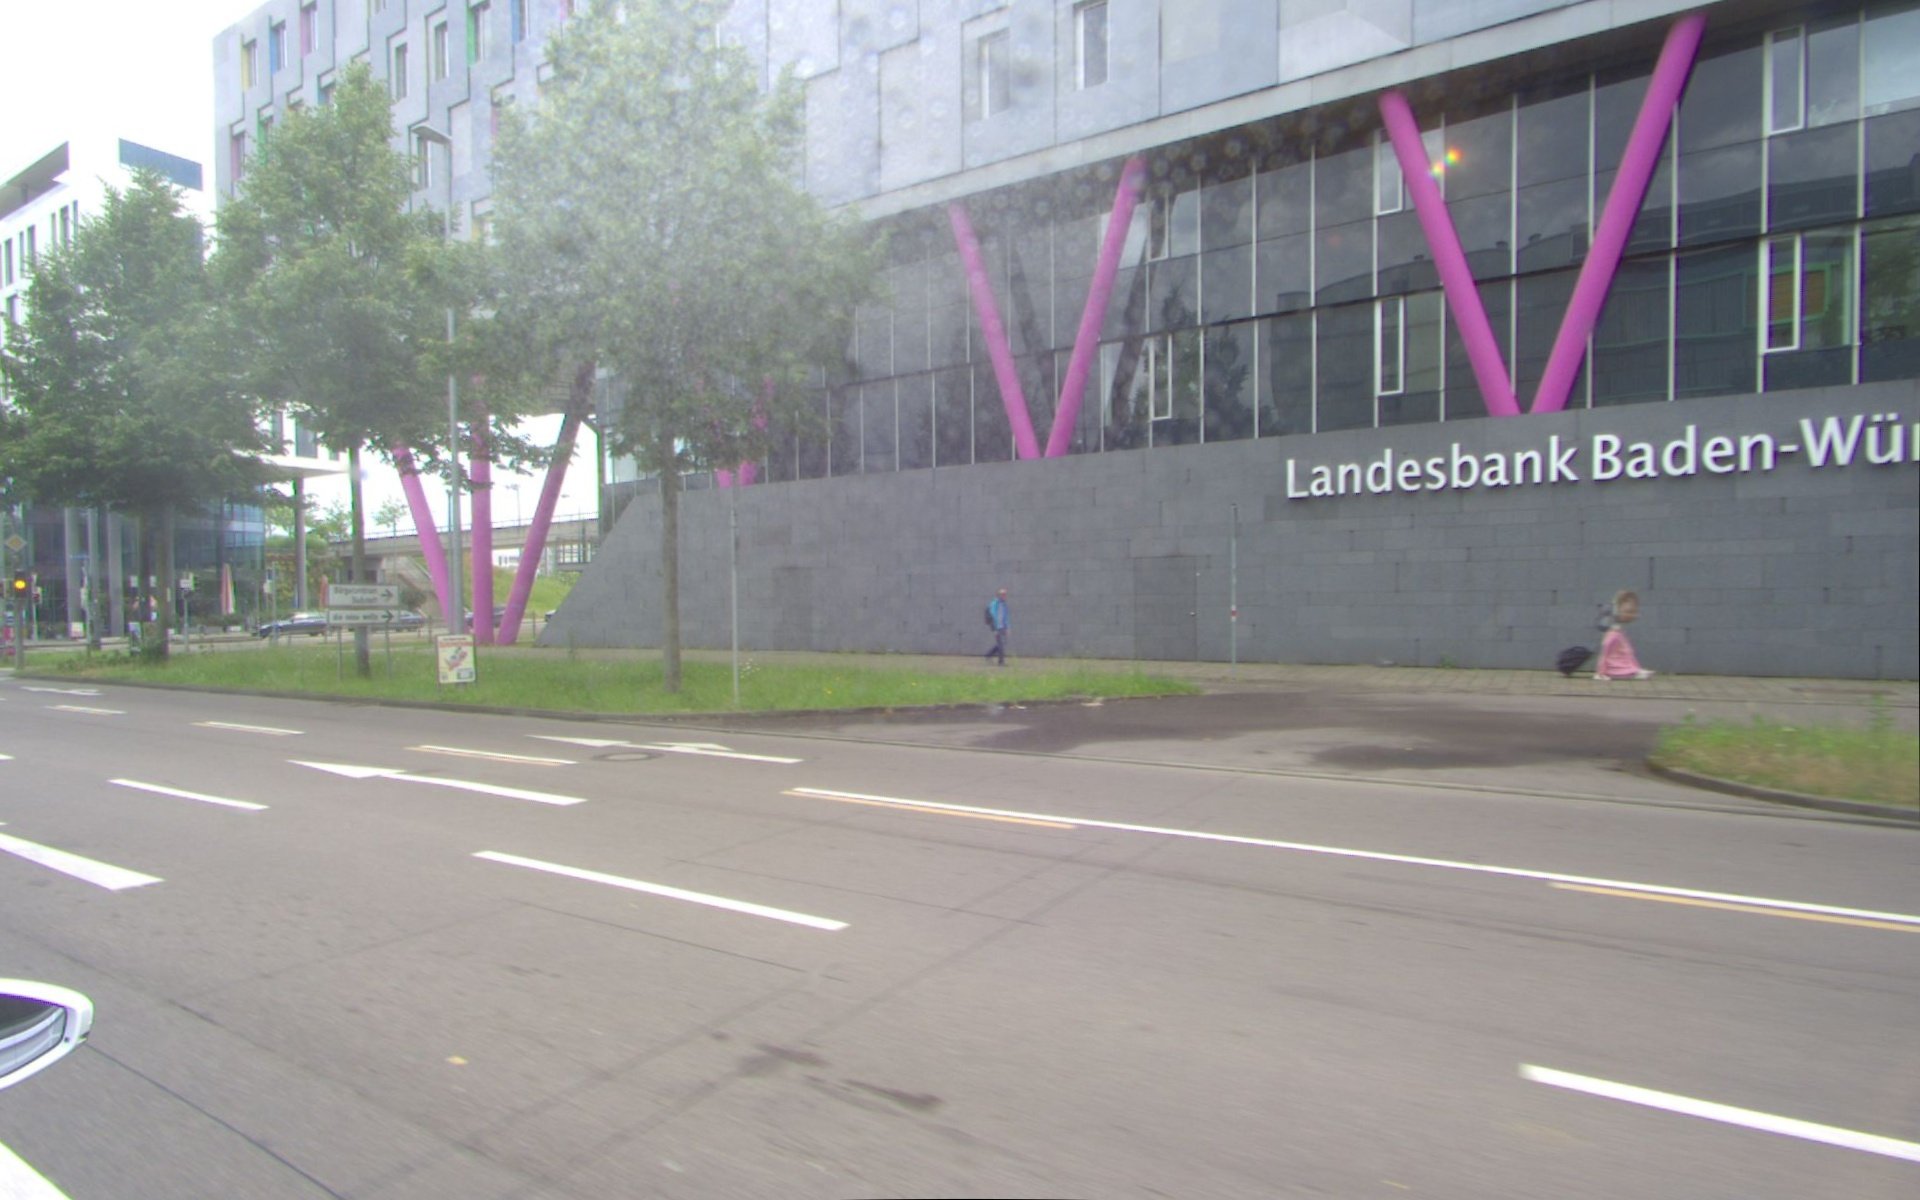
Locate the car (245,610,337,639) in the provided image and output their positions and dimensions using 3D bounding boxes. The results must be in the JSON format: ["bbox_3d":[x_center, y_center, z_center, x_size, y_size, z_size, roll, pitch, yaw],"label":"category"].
[{"bbox_3d":[-40.270,1.447,60.368,1.733,1.636,4.240,0,0,34],"label":"car"}]

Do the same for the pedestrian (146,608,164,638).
[{"bbox_3d":[-45.089,1.277,56.087,0.610,1.625,0.613,0,1,34],"label":"pedestrian"}]

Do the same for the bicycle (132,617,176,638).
[{"bbox_3d":[-45.110,1.546,56.058,0.609,1.100,1.787,0,0,34],"label":"bicycle"}]

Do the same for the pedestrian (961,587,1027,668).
[{"bbox_3d":[0.776,0.602,22.817,1.121,1.794,1.049,1,1,33],"label":"pedestrian"}]

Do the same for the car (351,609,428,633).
[{"bbox_3d":[-37.336,1.358,65.640,1.733,1.474,4.070,0,0,34],"label":"car"}]

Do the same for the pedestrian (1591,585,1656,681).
[{"bbox_3d":[11.496,0.553,17.367,0.902,1.604,0.782,1,1,33],"label":"pedestrian"}]
